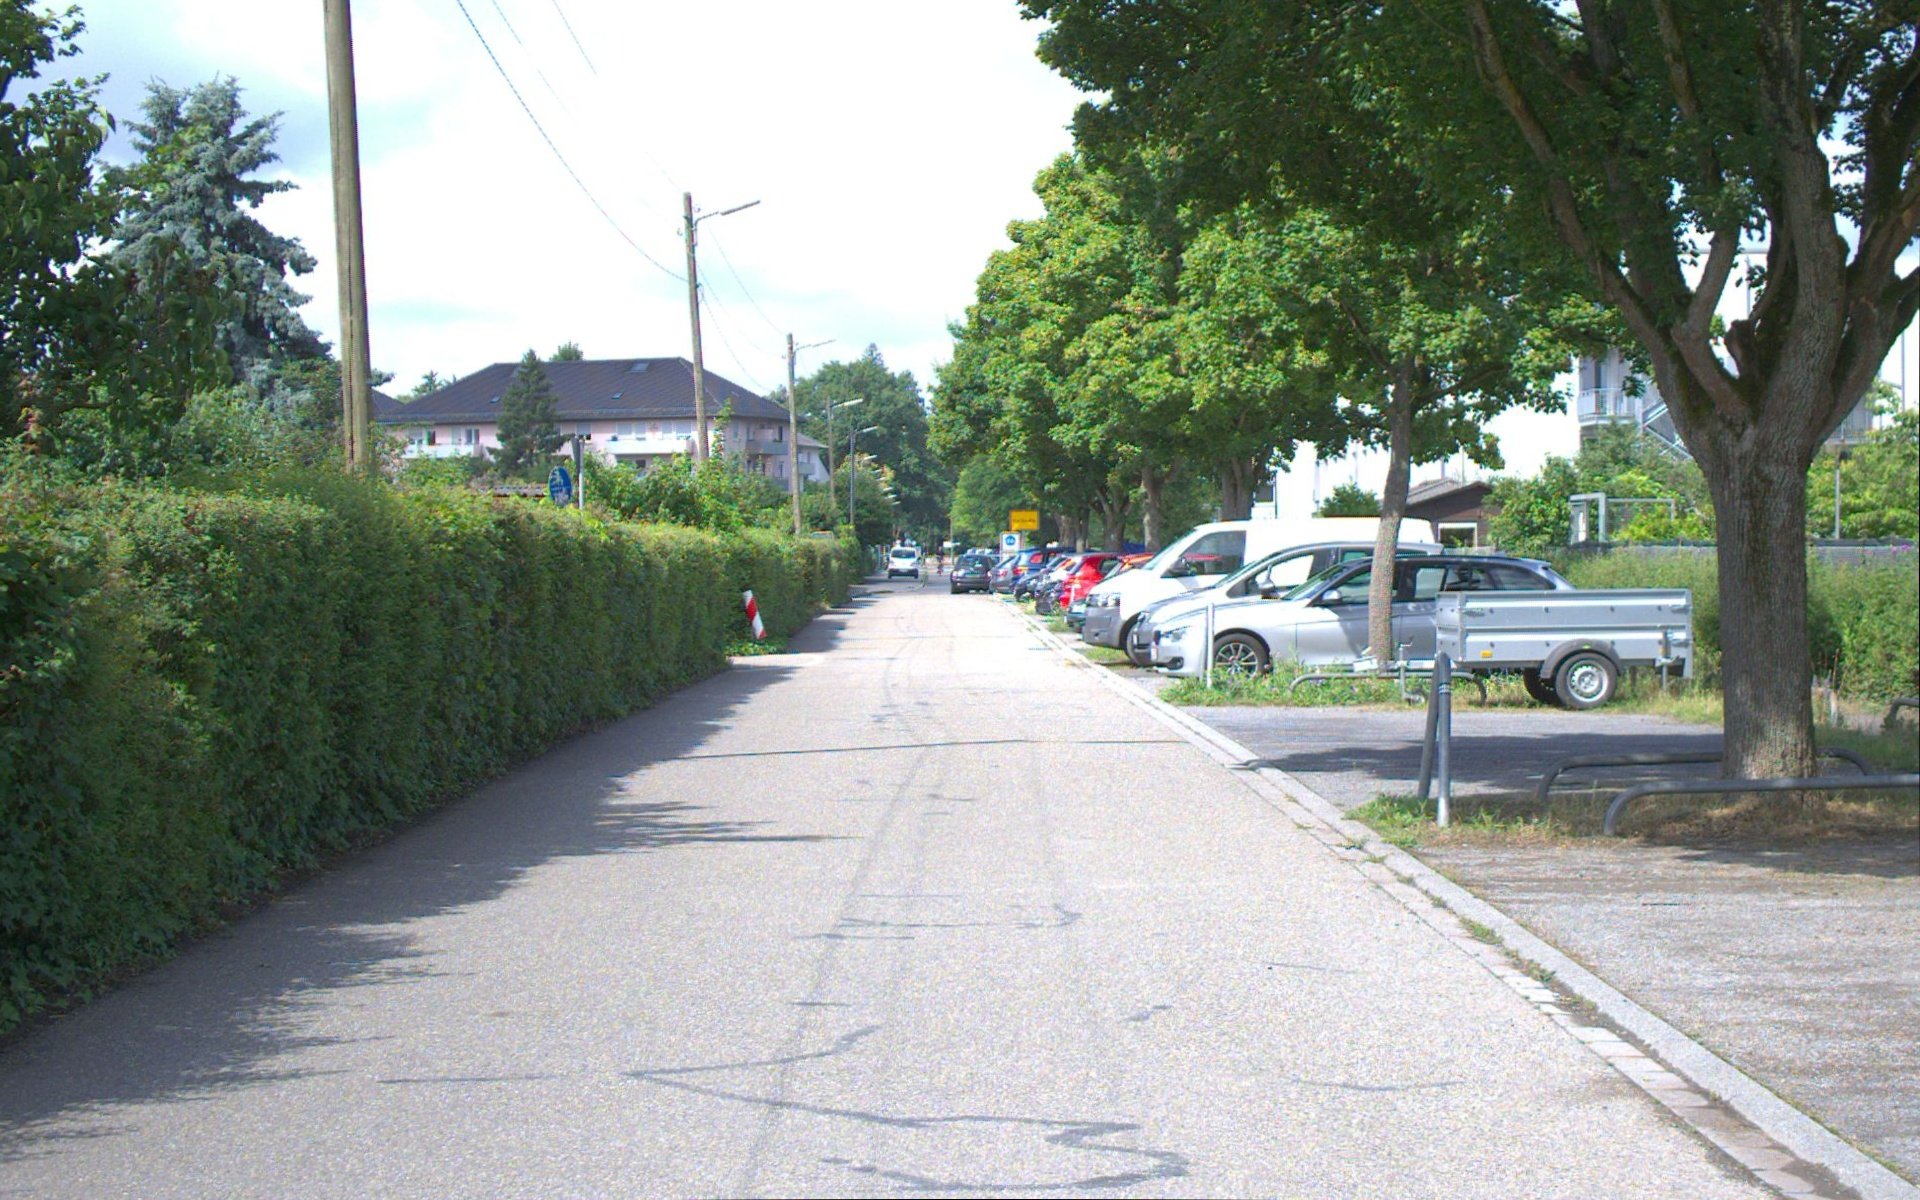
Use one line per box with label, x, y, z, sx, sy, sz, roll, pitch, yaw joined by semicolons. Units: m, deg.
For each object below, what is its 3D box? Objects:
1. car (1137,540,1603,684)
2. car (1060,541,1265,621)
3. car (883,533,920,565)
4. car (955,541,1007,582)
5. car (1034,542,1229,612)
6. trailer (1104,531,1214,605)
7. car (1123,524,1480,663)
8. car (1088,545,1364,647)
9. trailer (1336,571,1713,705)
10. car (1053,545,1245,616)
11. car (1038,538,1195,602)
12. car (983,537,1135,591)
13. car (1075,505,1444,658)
car;4.253;0.103;36.154;4.577;1.461;2.000;0;1;-3
car;4.013;-0.380;68.251;3.987;1.514;1.854;1;0;3
car;-3.368;-2.942;198.788;1.903;1.808;4.000;1;1;2
car;0.808;-1.467;130.238;1.663;1.501;3.999;1;1;5
car;3.708;-0.511;74.933;4.065;1.450;1.870;1;0;-2
trailer;4.780;-0.787;82.729;2.449;1.714;1.518;1;1;-4
car;4.235;-0.097;43.109;4.243;1.587;2.000;-1;1;0
car;4.117;-0.075;53.727;4.183;1.499;1.878;1;0;1
trailer;5.102;0.329;31.421;3.100;1.138;2.000;1;0;0
car;3.935;-0.409;71.766;3.910;1.419;1.957;1;0;3
car;3.882;-0.749;85.620;3.723;1.534;1.850;1;0;-3
car;3.031;-1.111;105.438;4.548;1.573;1.809;1;0;-1
car;3.943;-0.260;45.852;4.634;1.880;2.112;-1;1;-2
